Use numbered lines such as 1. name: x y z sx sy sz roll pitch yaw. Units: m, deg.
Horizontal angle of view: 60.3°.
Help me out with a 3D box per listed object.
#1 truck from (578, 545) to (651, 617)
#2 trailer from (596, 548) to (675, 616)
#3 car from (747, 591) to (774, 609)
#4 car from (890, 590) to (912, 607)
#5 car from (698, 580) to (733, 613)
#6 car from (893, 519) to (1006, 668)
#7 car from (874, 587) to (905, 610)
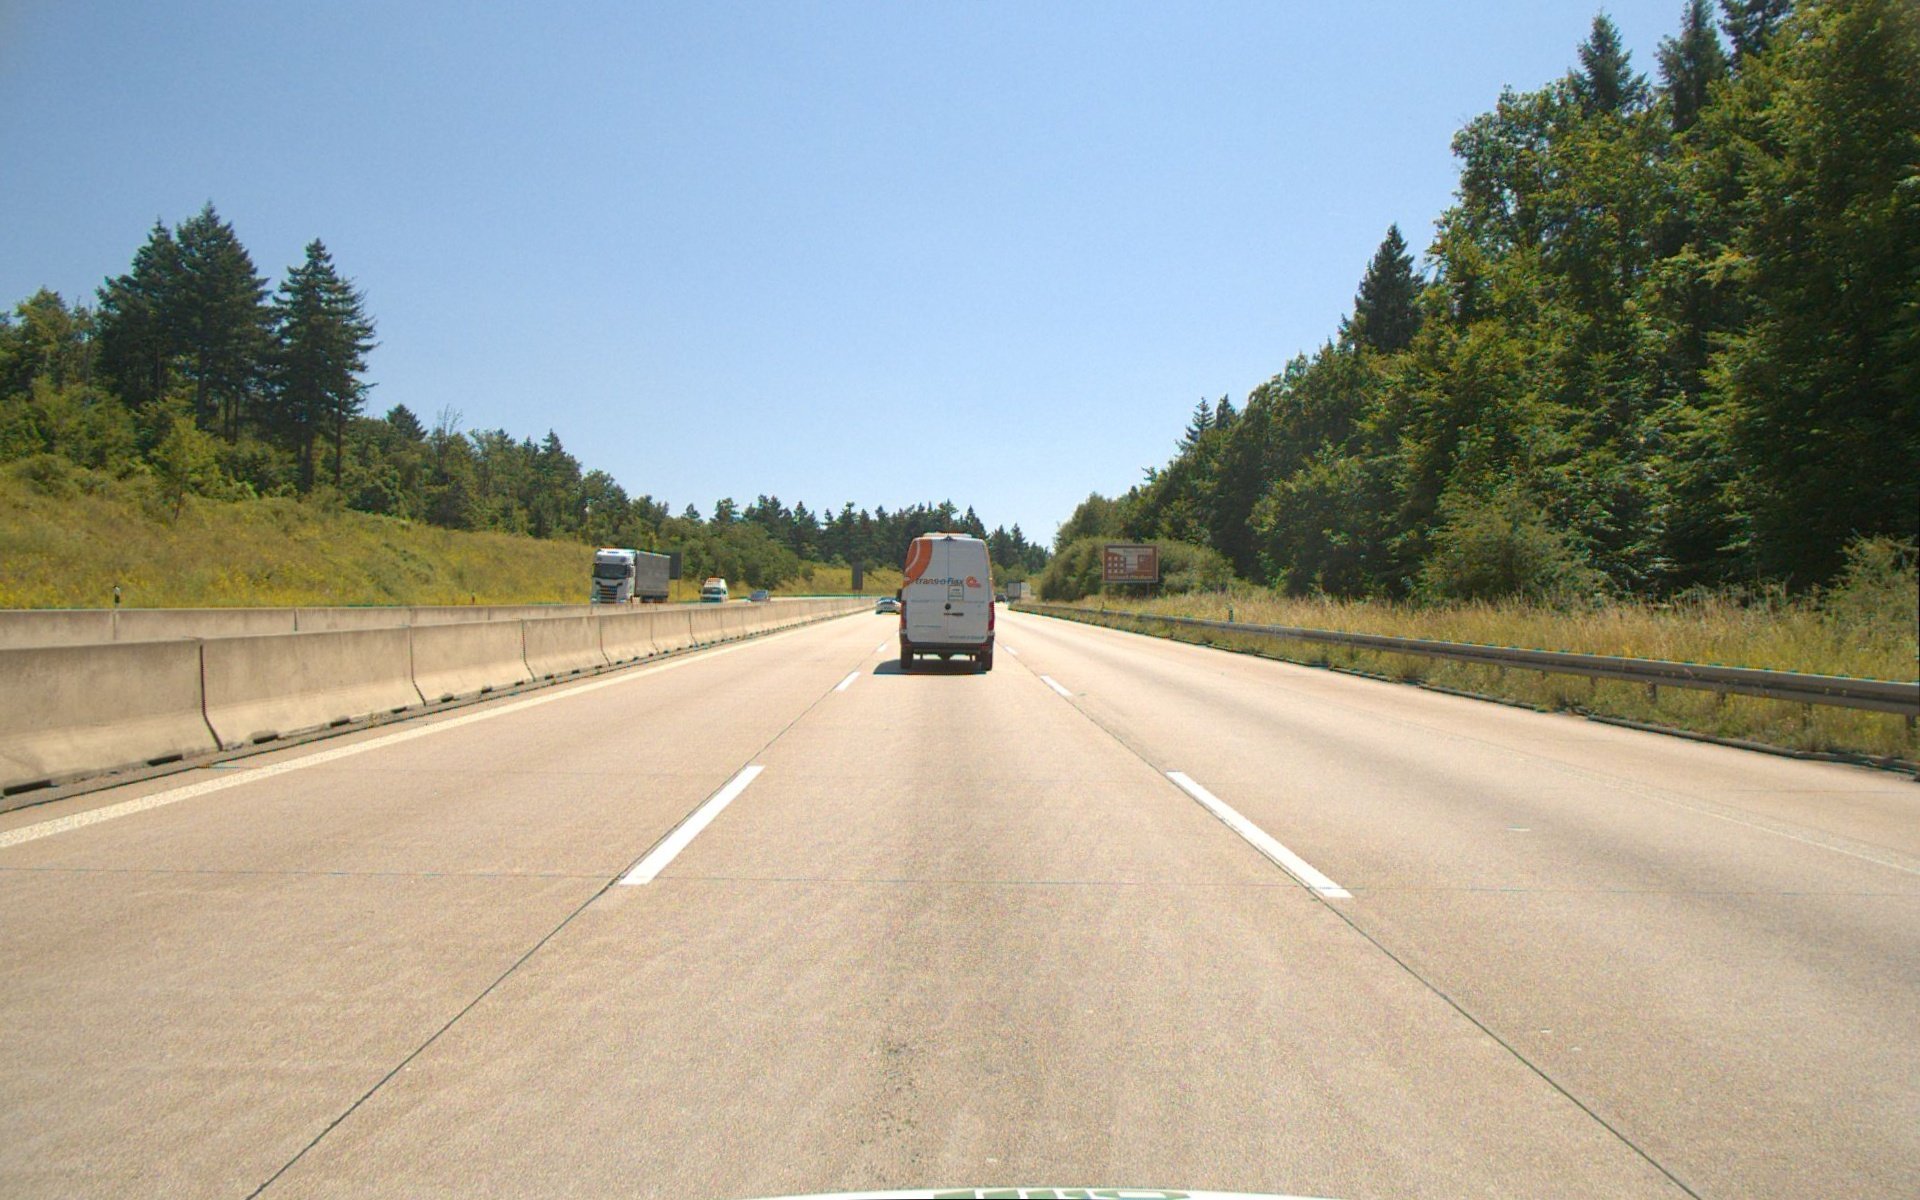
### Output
1. truck: -23.218 -1.210 111.584 3.190 4.583 7.984 1 -1 -1
2. trailer: -23.273 -1.187 119.404 3.190 4.583 13.117 1 0 -1
3. car: -17.894 -0.010 148.642 1.953 1.610 4.042 1 0 -1
4. car: -6.174 -0.138 173.137 1.952 1.713 4.001 1 0 3
5. car: -19.148 -0.264 129.646 1.953 2.529 5.178 1 0 0
6. car: -0.269 -0.149 35.362 2.181 2.894 5.453 1 0 -1
7. car: -5.282 -0.107 124.065 1.952 1.713 4.001 1 0 3
